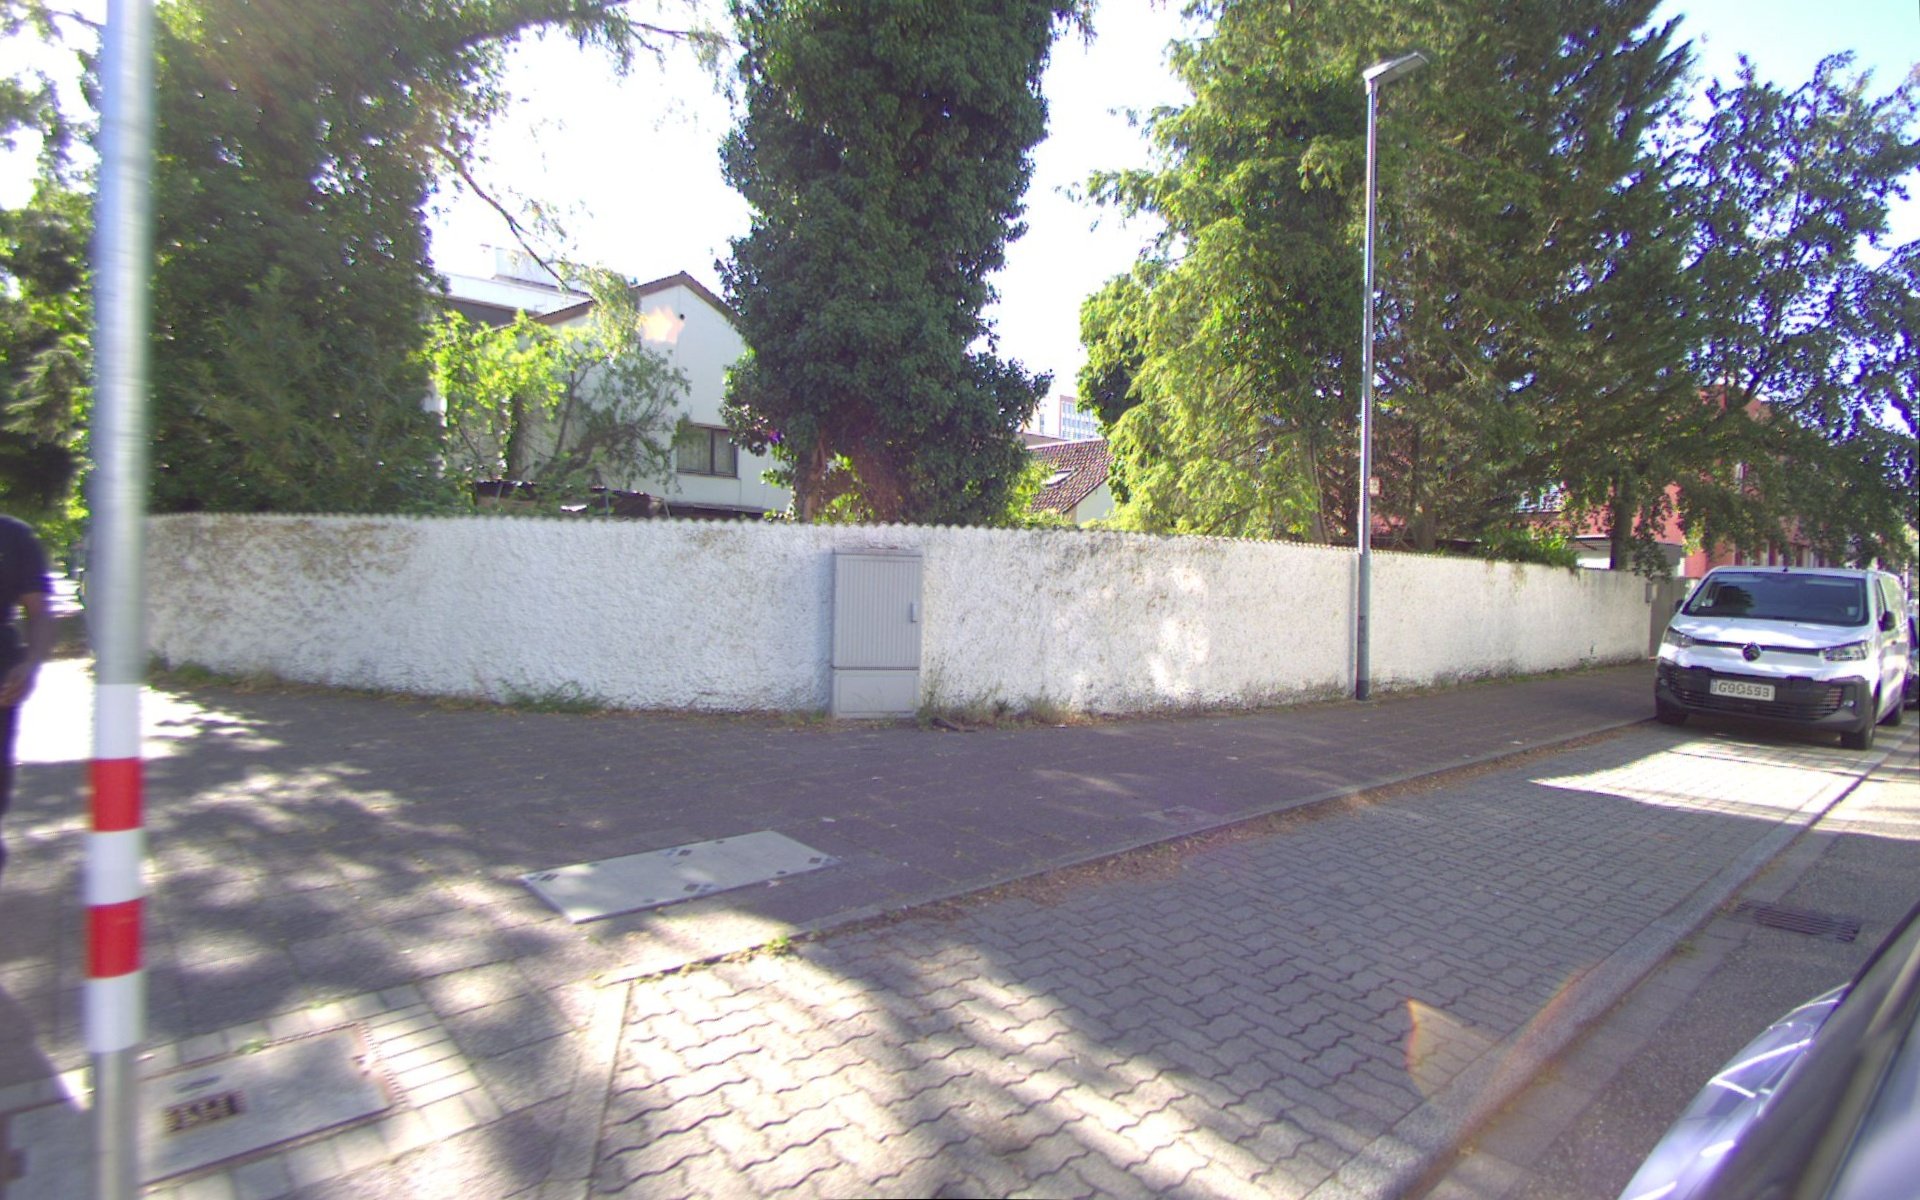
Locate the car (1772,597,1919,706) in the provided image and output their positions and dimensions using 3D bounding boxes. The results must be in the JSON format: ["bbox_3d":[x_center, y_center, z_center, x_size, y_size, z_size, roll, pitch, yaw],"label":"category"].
[{"bbox_3d":[14.443,0.706,15.950,4.208,1.441,1.829,0,2,-41],"label":"car"}]

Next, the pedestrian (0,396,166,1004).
[{"bbox_3d":[-3.046,0.271,3.017,0.801,1.706,0.829,2,0,32],"label":"pedestrian"}]

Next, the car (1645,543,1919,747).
[{"bbox_3d":[10.050,0.388,12.024,5.058,1.937,1.902,0,2,-41],"label":"car"}]
